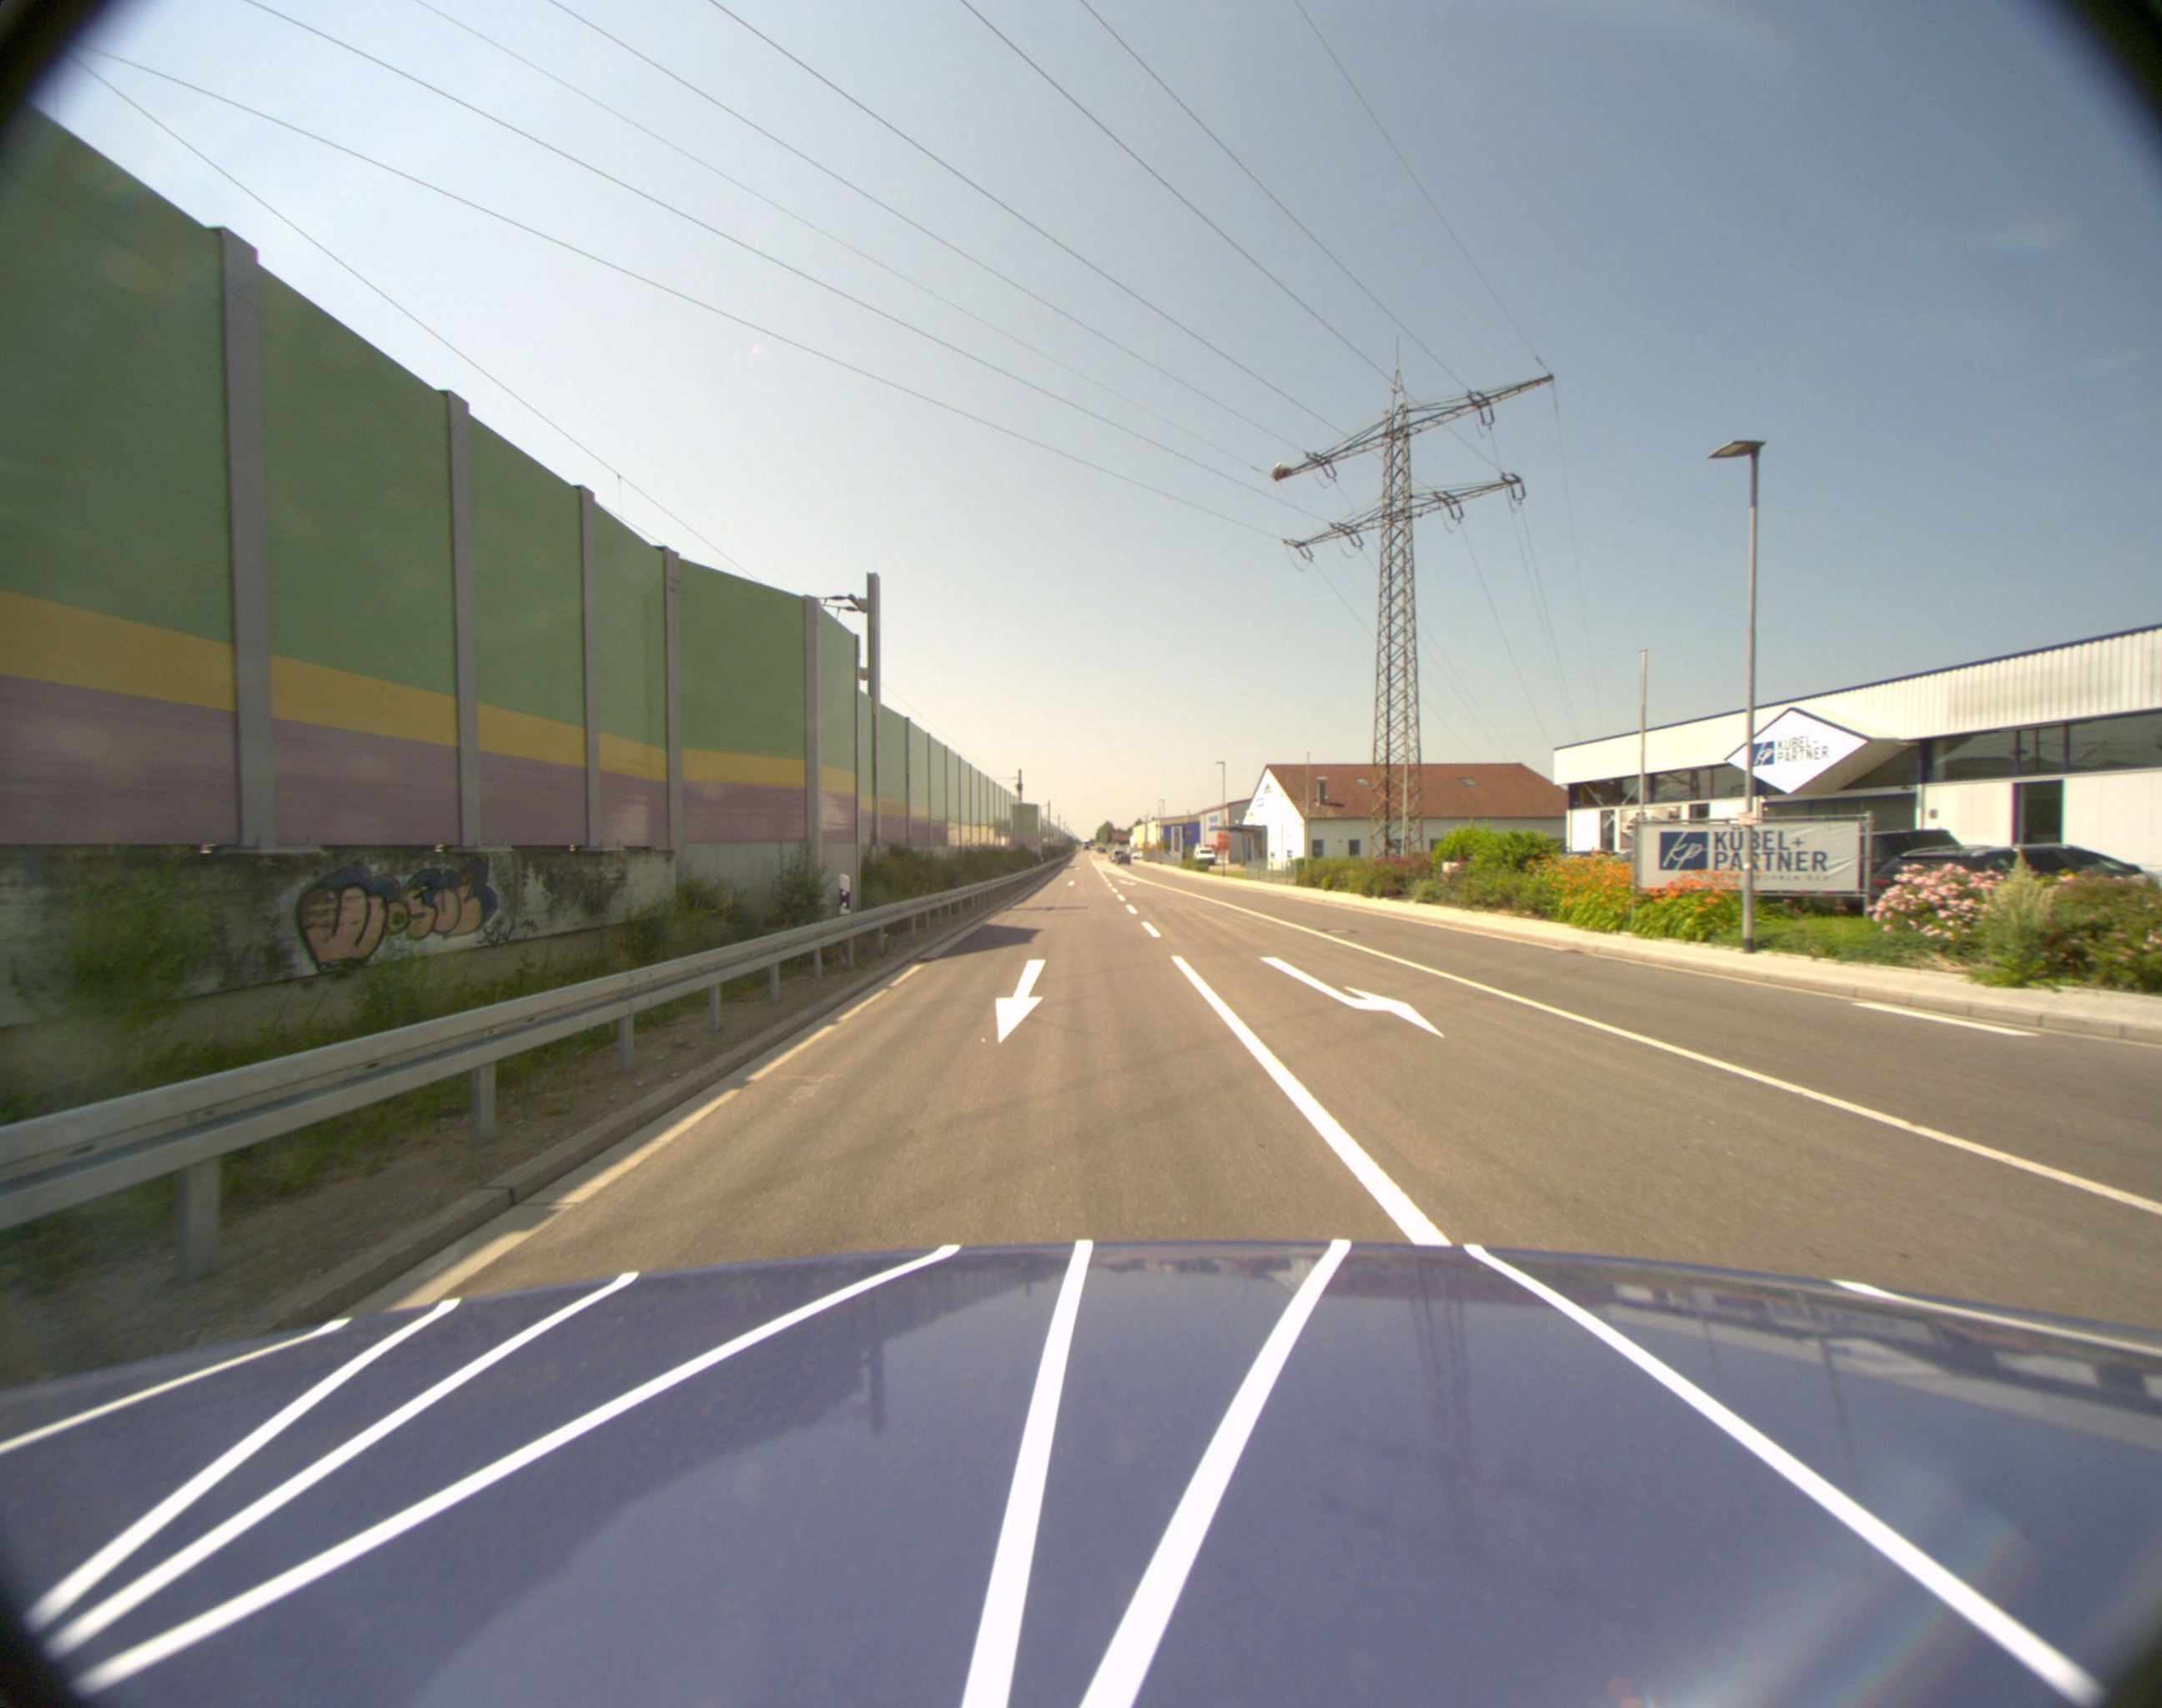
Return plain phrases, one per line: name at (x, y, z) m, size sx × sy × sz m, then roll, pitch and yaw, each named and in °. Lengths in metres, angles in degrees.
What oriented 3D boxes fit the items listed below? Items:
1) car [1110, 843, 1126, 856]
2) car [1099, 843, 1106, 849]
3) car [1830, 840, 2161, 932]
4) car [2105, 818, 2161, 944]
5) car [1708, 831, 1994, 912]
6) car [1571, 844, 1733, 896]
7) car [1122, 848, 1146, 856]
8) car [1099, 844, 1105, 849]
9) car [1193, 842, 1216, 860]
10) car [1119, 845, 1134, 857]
car at (5.606, -0.728, 115.567) m, size 1.999 × 1.863 × 5.168 m, roll 1°, pitch 1°, yaw -1°
car at (6.146, -2.211, 213.511) m, size 1.886 × 1.607 × 4.522 m, roll 2°, pitch 1°, yaw 2°
car at (15.593, 0.493, 12.916) m, size 3.999 × 1.406 × 1.998 m, roll 0°, pitch 1°, yaw -7°
car at (16.263, 0.367, 9.645) m, size 4.236 × 1.638 × 1.833 m, roll 0°, pitch 1°, yaw -3°
car at (15.984, 0.345, 15.921) m, size 4.236 × 1.586 × 1.833 m, roll 0°, pitch 1°, yaw -3°
car at (16.330, 0.432, 21.832) m, size 3.518 × 1.247 × 1.504 m, roll -3°, pitch 1°, yaw -1°
car at (10.047, -0.386, 144.062) m, size 4.151 × 1.494 × 1.778 m, roll 0°, pitch 0°, yaw 29°
car at (6.572, -2.265, 235.554) m, size 1.746 × 1.585 × 3.795 m, roll 1°, pitch 1°, yaw 0°
car at (14.167, -0.385, 87.335) m, size 1.998 × 2.002 × 4.679 m, roll 0°, pitch 2°, yaw 1°
car at (5.742, -0.394, 96.371) m, size 1.675 × 1.415 × 3.999 m, roll 1°, pitch 1°, yaw 0°
